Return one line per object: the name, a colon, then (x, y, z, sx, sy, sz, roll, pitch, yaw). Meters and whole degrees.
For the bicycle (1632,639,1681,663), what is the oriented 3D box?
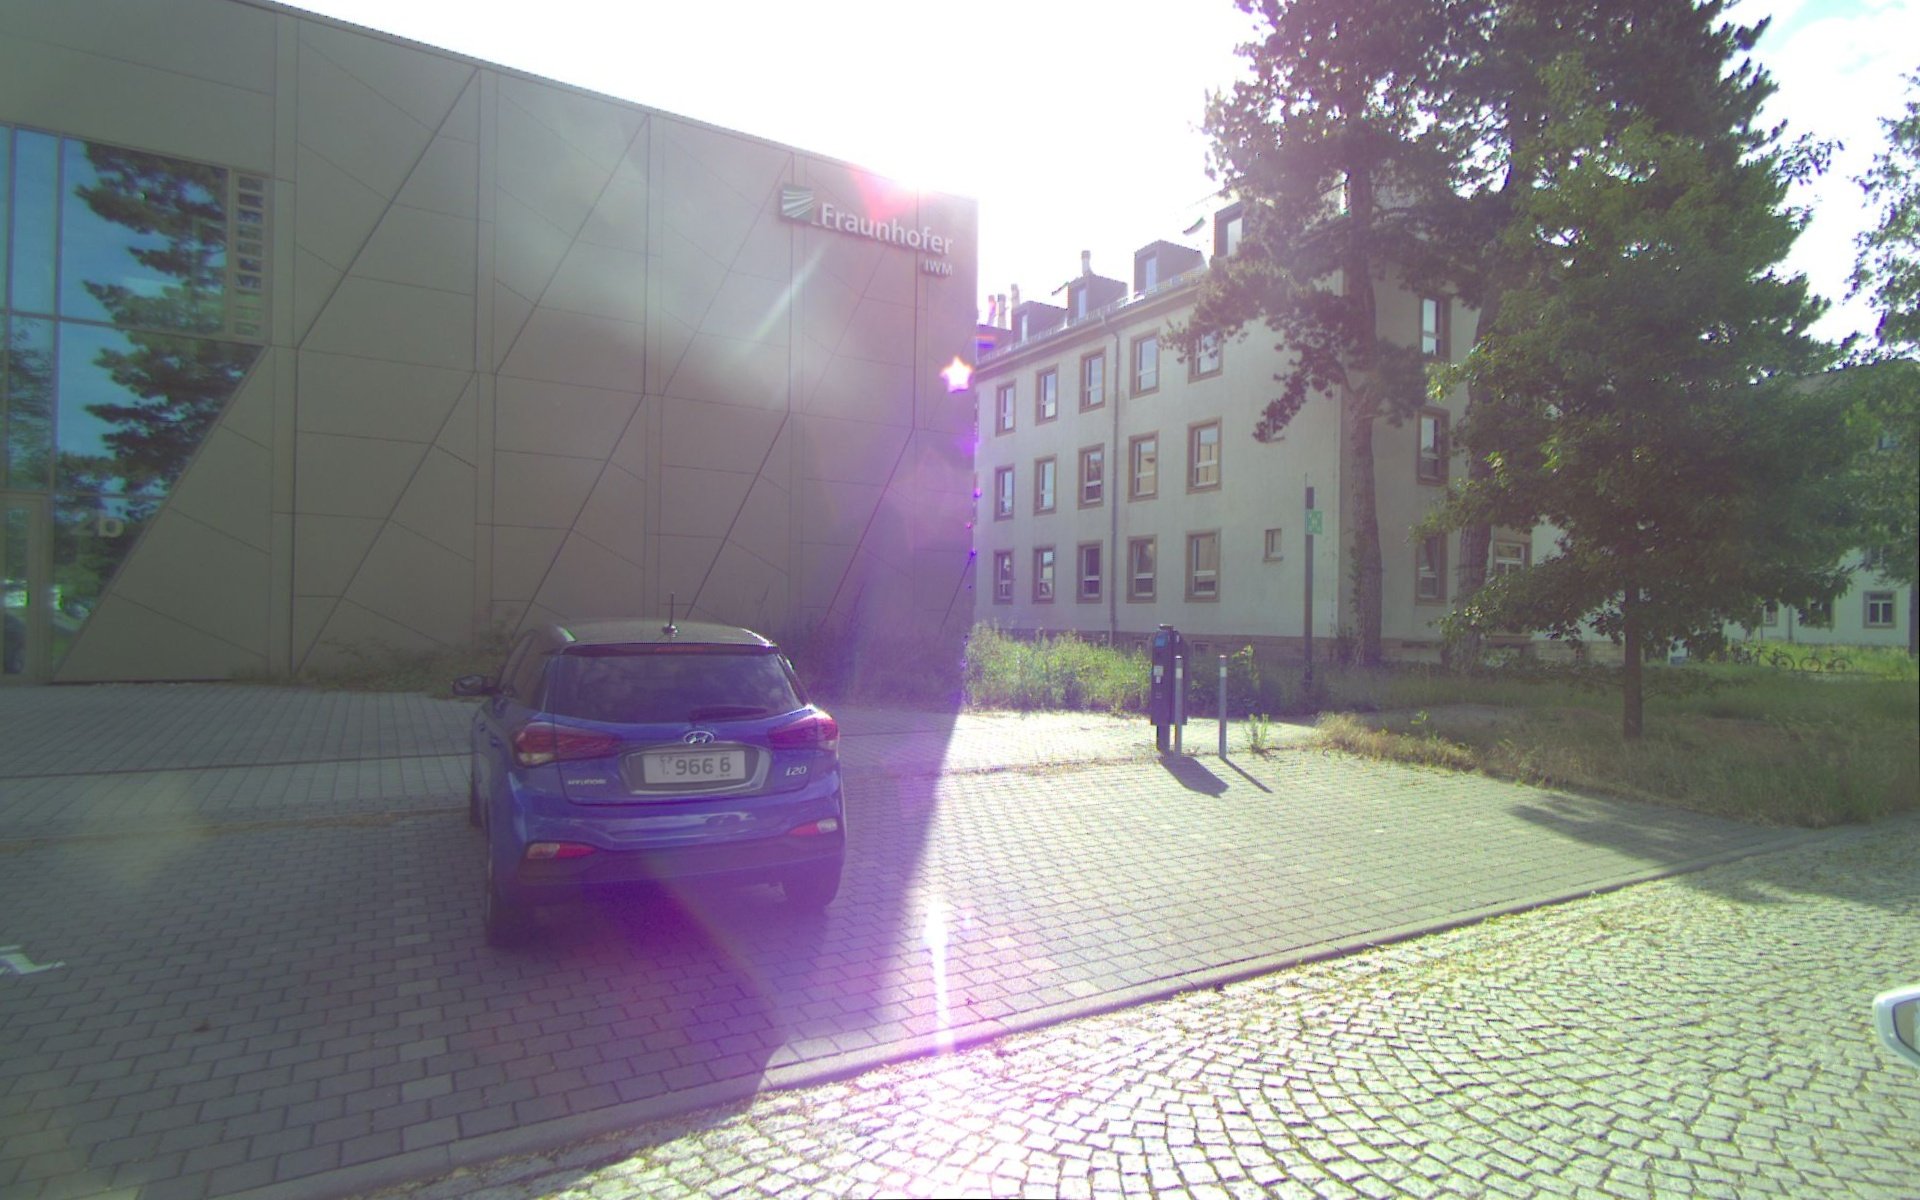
bicycle: (31.869, 2.318, 45.972, 2.524, 1.061, 0.896, 2, -1, -31)

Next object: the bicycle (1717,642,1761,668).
bicycle: (33.481, 2.365, 43.164, 2.100, 1.061, 0.822, 2, -1, -31)

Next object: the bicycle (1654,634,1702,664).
bicycle: (32.317, 2.213, 45.193, 2.524, 1.298, 0.822, 2, -1, -31)

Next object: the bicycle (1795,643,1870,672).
bicycle: (34.279, 2.251, 39.476, 0.820, 1.061, 2.104, 2, -1, -33)

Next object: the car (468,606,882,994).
car: (-2.024, 0.852, 6.193, 1.698, 1.483, 3.820, 2, 0, -27)

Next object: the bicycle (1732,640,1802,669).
bicycle: (33.147, 2.220, 41.264, 0.820, 1.123, 2.104, 2, -1, -33)

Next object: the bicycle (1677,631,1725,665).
bicycle: (32.957, 2.139, 44.680, 2.524, 1.456, 0.822, 2, -1, -31)

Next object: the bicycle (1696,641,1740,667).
bicycle: (33.057, 2.353, 43.818, 2.100, 1.061, 0.822, 2, -1, -31)
